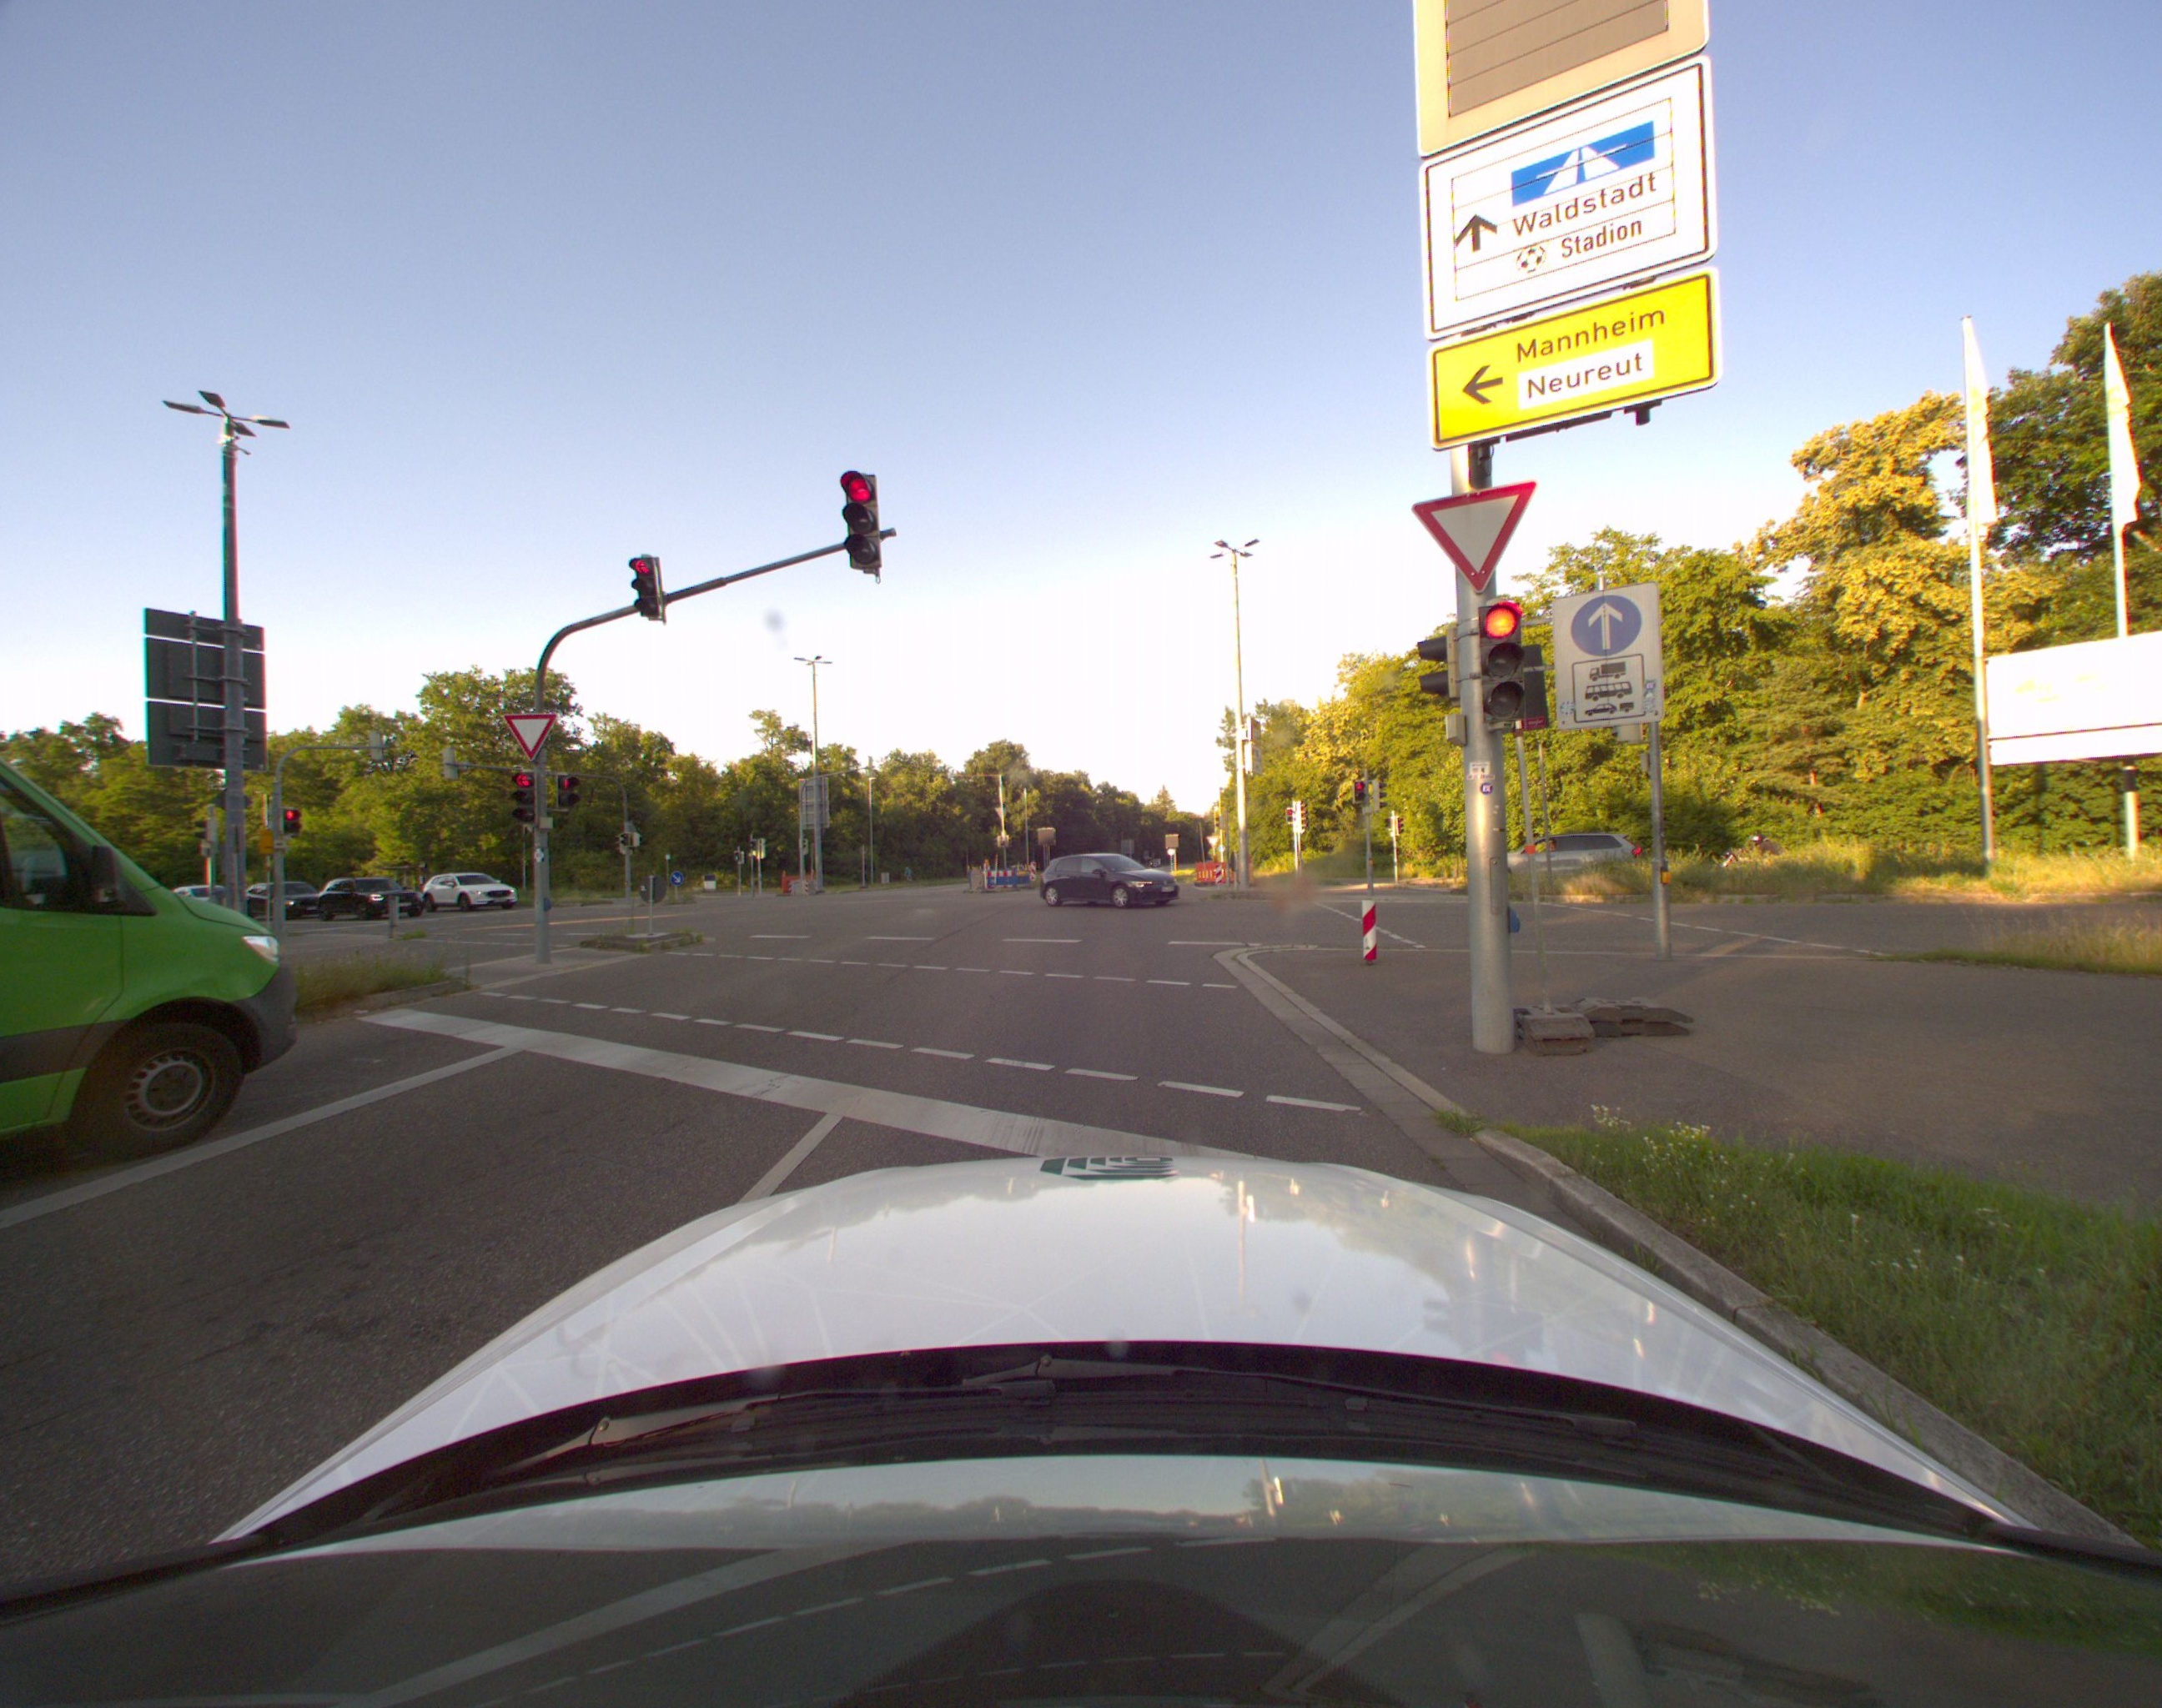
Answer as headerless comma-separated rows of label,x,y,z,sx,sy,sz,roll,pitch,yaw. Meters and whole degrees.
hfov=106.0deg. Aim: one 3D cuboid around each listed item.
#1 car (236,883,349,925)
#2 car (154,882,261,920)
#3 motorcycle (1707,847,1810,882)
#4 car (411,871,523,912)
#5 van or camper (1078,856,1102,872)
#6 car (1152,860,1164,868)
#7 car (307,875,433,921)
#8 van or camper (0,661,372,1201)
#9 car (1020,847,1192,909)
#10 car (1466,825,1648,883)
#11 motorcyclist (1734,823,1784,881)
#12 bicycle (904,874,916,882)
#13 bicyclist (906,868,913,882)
car,-33.923,2.156,35.033,4.205,1.640,2.011,-2,0,23
car,-41.255,2.213,38.474,4.207,1.640,2.011,-2,0,21
motorcycle,19.148,0.302,23.084,2.125,0.910,0.666,-2,-1,23
car,-26.758,1.643,35.498,4.206,1.640,2.011,-2,0,23
van or camper,1.680,1.791,149.848,2.866,2.652,7.145,-2,0,12
car,17.485,2.307,185.280,1.979,1.640,4.016,-3,0,14
car,-27.552,1.700,31.558,4.206,1.640,2.011,-2,0,23
van or camper,-5.857,0.363,2.560,1.987,2.421,5.896,-2,0,1
car,0.596,0.648,22.546,2.012,1.530,4.620,-2,0,-45
car,15.032,0.025,26.076,4.773,1.598,2.011,-2,0,23
motorcyclist,19.186,-0.041,23.062,0.878,1.595,0.658,-2,-1,23
bicycle,-17.176,2.394,81.805,1.112,0.825,0.408,-2,-1,-39
bicyclist,-17.237,2.106,81.768,0.522,1.387,0.402,-1,-1,-40
